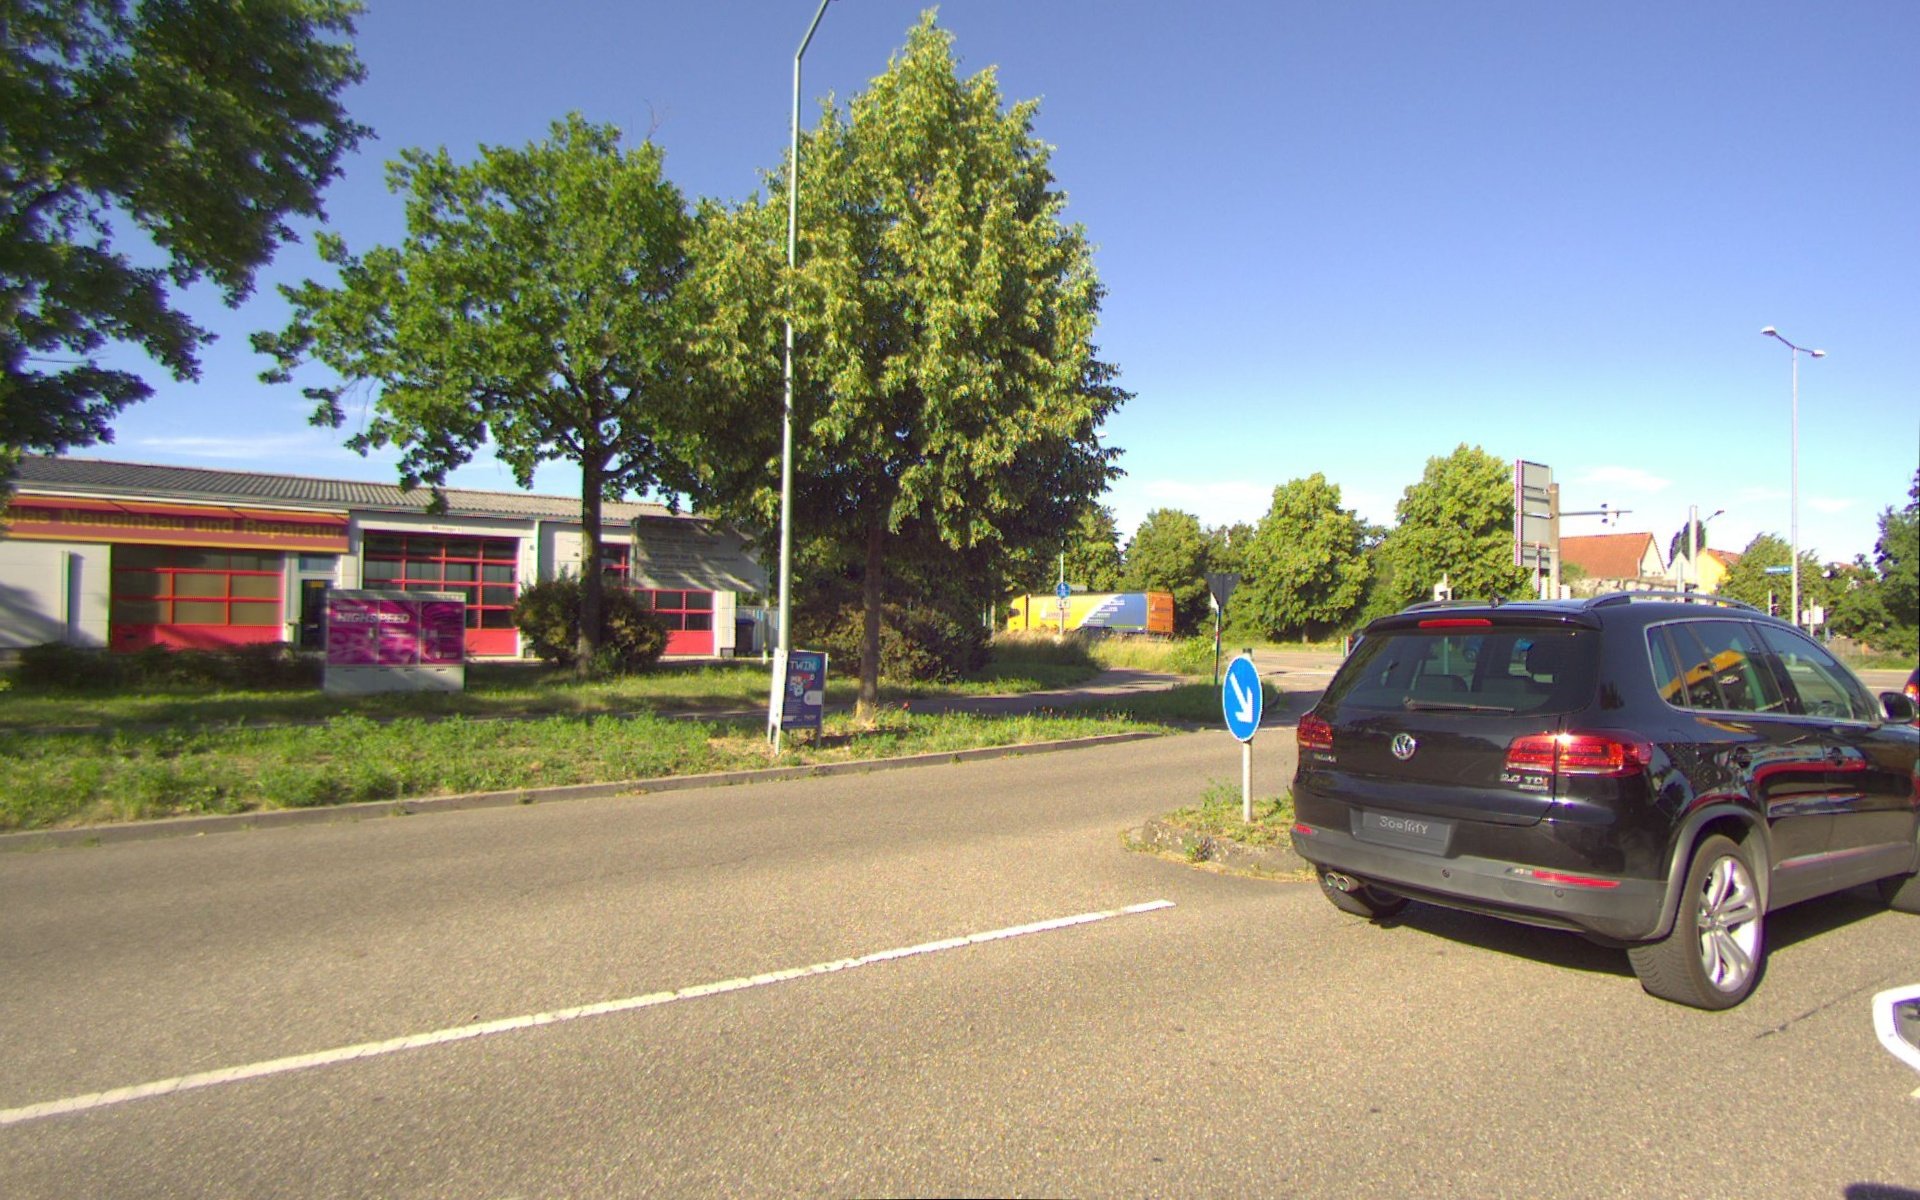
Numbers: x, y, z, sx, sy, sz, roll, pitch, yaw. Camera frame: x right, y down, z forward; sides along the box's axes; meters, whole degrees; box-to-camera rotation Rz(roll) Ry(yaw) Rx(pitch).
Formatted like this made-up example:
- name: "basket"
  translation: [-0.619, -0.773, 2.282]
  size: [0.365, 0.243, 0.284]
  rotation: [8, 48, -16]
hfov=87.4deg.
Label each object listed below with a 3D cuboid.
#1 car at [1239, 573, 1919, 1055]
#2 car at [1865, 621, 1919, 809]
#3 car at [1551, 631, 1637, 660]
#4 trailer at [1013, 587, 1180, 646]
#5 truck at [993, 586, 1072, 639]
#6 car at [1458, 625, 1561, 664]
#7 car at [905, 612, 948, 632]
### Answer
- name: "car"
  translation: [3.545, 0.823, 5.308]
  size: [3.954, 1.675, 1.763]
  rotation: [1, -3, -31]
- name: "car"
  translation: [10.223, 1.008, 9.209]
  size: [3.954, 1.610, 1.753]
  rotation: [1, -3, -31]
- name: "car"
  translation: [33.531, 2.396, 53.218]
  size: [3.522, 1.478, 1.578]
  rotation: [0, -2, 9]
- name: "trailer"
  translation: [10.303, 1.139, 78.877]
  size: [3.408, 4.241, 15.204]
  rotation: [2, 0, -36]
- name: "truck"
  translation: [6.044, 1.024, 84.842]
  size: [3.407, 4.253, 6.178]
  rotation: [2, 0, -36]
- name: "car"
  translation: [23.748, 1.907, 43.491]
  size: [1.733, 1.581, 3.559]
  rotation: [2, -2, -35]
- name: "car"
  translation: [-3.074, 1.978, 91.329]
  size: [1.929, 1.728, 3.959]
  rotation: [2, 0, -36]
